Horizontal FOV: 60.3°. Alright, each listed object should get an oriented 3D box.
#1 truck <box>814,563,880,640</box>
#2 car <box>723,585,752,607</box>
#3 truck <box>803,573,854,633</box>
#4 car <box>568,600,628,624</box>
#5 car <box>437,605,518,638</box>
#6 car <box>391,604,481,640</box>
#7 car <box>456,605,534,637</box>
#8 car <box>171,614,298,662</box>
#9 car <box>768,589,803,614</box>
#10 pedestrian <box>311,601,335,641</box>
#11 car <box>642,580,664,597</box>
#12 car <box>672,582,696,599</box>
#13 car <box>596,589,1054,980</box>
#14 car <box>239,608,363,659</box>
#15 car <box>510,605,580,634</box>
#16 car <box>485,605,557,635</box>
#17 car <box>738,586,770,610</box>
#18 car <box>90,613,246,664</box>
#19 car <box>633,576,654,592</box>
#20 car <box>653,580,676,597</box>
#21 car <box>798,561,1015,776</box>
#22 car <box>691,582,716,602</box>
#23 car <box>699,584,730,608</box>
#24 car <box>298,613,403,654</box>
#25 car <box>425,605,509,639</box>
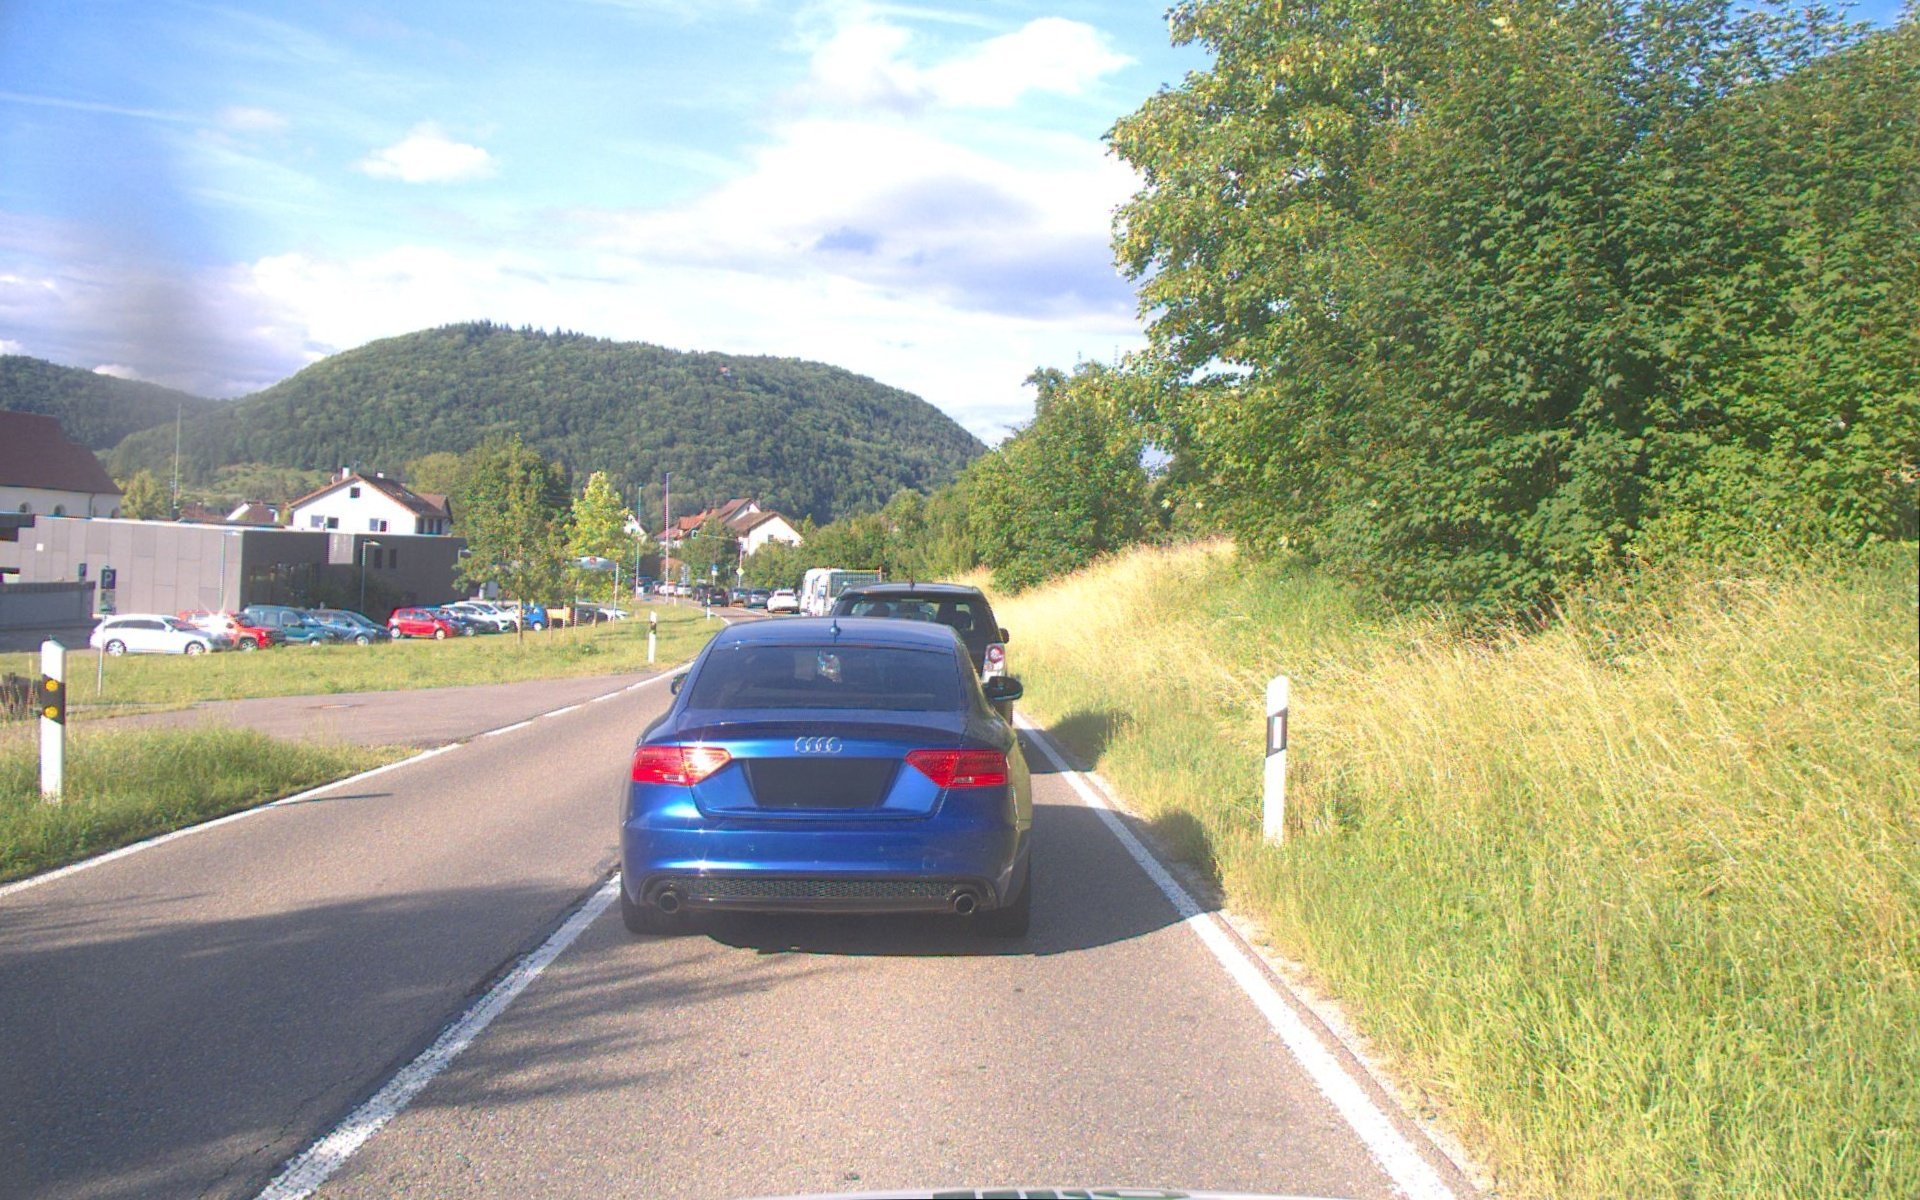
[{"bbox_3d":[-4.184,0.058,60.296,2.187,2.615,6.096,1,0,-6],"label":"truck"},{"bbox_3d":[-18.097,-0.303,134.352,1.815,1.742,3.984,1,0,-15],"label":"car"},{"bbox_3d":[-6.089,0.140,76.060,2.186,2.615,6.699,1,0,-5],"label":"truck"},{"bbox_3d":[-25.847,0.870,118.180,3.907,1.606,1.751,1,0,-3],"label":"car"},{"bbox_3d":[-26.787,1.165,91.854,3.907,1.741,1.999,1,0,-3],"label":"car"},{"bbox_3d":[-26.487,1.126,83.654,3.907,1.741,1.999,1,0,-3],"label":"car"},{"bbox_3d":[-26.737,1.184,95.139,3.907,1.741,1.999,1,0,-3],"label":"car"},{"bbox_3d":[-27.609,1.422,63.026,3.907,1.741,1.999,1,0,-3],"label":"car"},{"bbox_3d":[-11.262,0.088,106.449,1.813,1.508,3.988,1,0,-12],"label":"car"},{"bbox_3d":[-32.681,1.087,84.877,0.808,2.049,0.973,1,-1,-1],"label":"pedestrian"},{"bbox_3d":[-34.285,-1.270,184.543,1.818,1.742,3.977,1,0,-20],"label":"car"},{"bbox_3d":[-28.031,-0.960,168.081,1.817,1.742,3.979,1,0,-19],"label":"car"},{"bbox_3d":[-0.507,0.712,8.213,1.718,1.455,3.846,1,0,0],"label":"car"},{"bbox_3d":[-27.388,1.388,68.841,4.318,2.043,1.999,1,0,-3],"label":"car"},{"bbox_3d":[-25.993,1.242,103.611,3.907,1.741,1.999,1,0,-3],"label":"car"},{"bbox_3d":[-26.767,1.214,100.925,3.907,1.741,1.999,1,0,-3],"label":"car"},{"bbox_3d":[-15.309,-0.121,122.868,1.815,1.742,3.984,1,0,-15],"label":"car"},{"bbox_3d":[-28.671,1.388,60.002,4.637,1.741,1.999,1,0,-3],"label":"car"},{"bbox_3d":[-36.886,-1.846,192.470,1.818,1.742,3.977,1,0,-20],"label":"car"},{"bbox_3d":[-31.458,-1.225,176.190,1.818,1.742,3.977,1,0,-19],"label":"car"},{"bbox_3d":[-0.428,0.562,15.259,1.718,1.710,3.846,1,0,0],"label":"car"},{"bbox_3d":[-23.867,-0.747,153.732,1.815,1.742,3.983,1,0,-16],"label":"car"},{"bbox_3d":[-18.778,-0.312,126.290,1.815,1.742,3.983,1,0,-16],"label":"car"},{"bbox_3d":[-26.995,1.488,73.349,3.907,1.741,1.999,1,0,-3],"label":"car"},{"bbox_3d":[-26.263,1.155,88.206,3.907,1.741,1.999,1,0,-3],"label":"car"}]
